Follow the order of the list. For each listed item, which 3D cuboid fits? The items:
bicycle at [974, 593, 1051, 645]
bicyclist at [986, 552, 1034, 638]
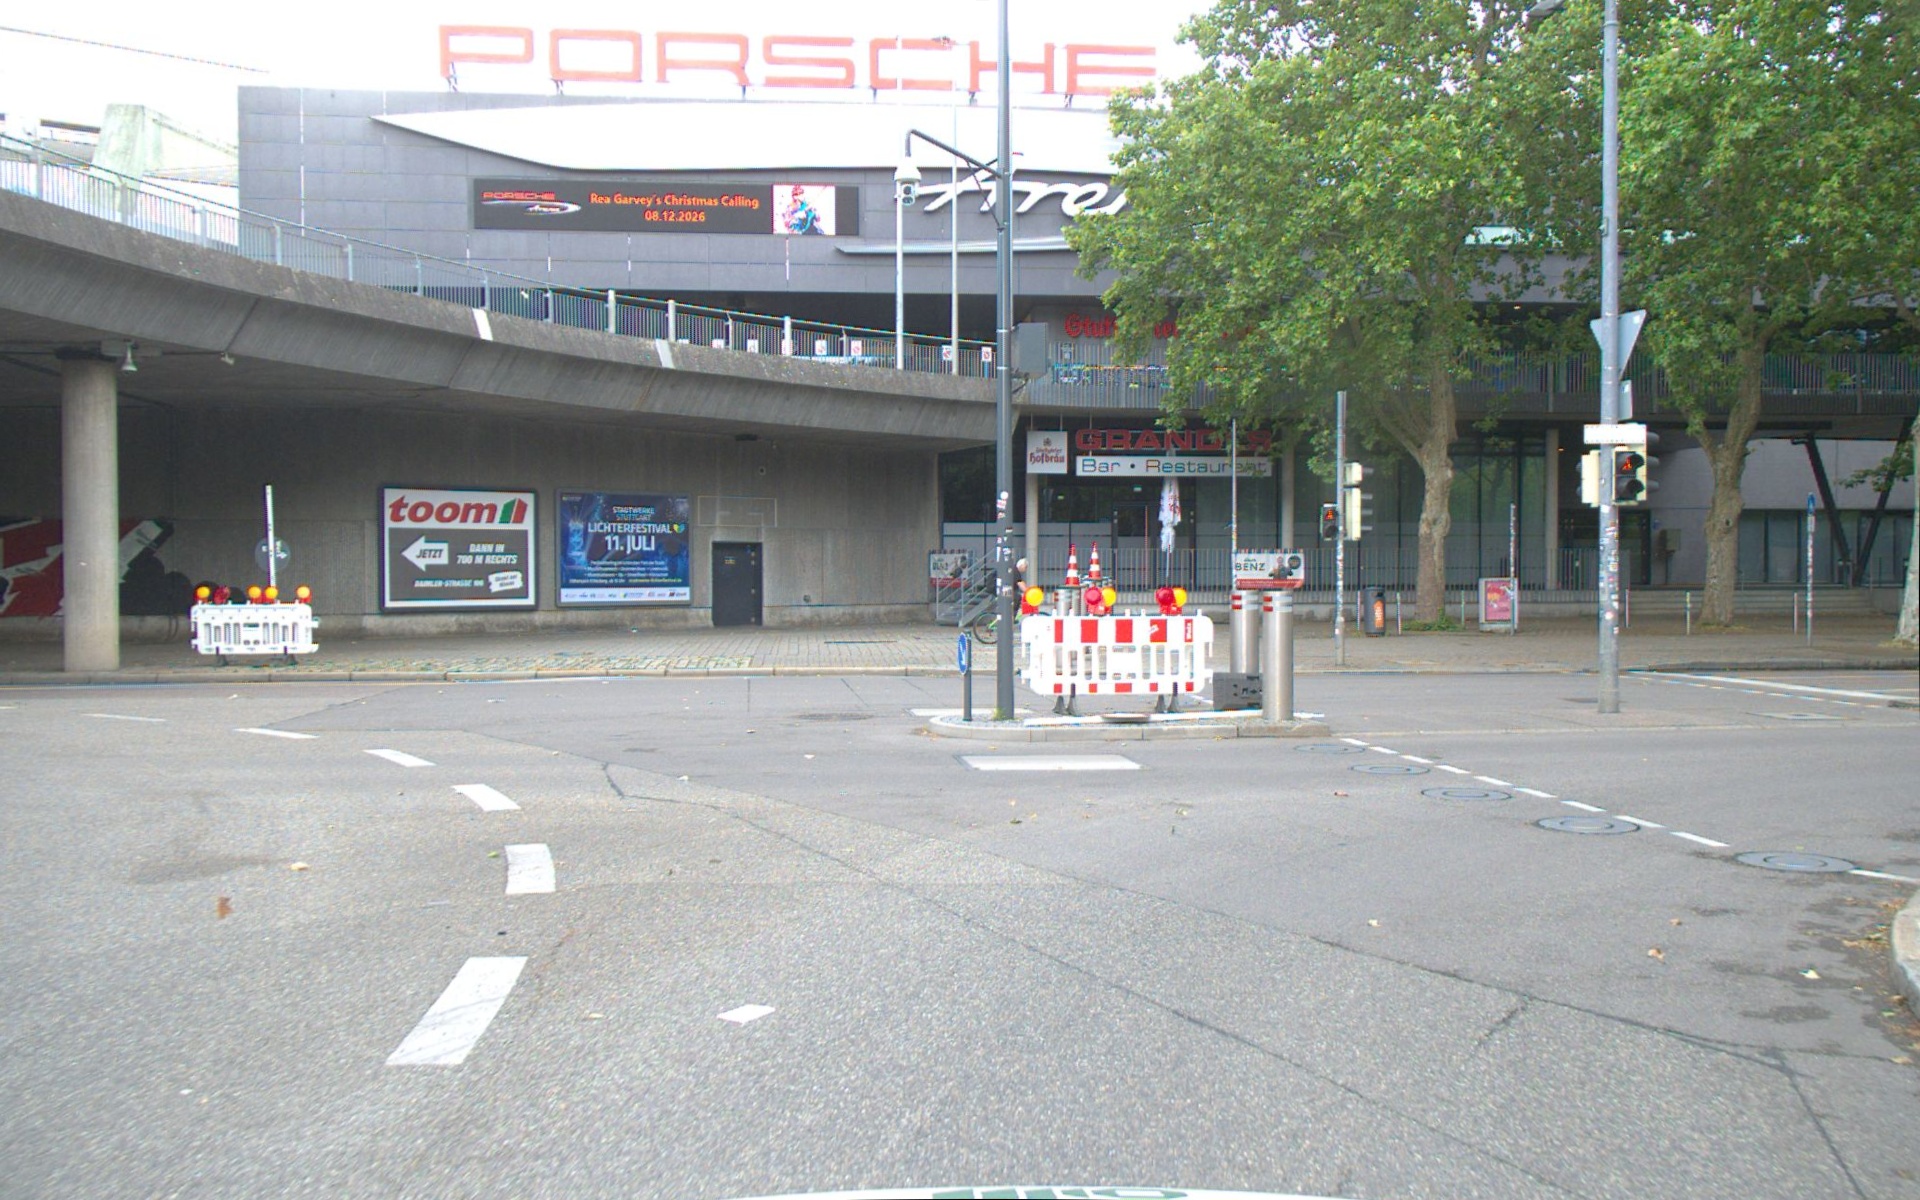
[{"bbox_3d":[1.073,0.391,34.034,1.504,1.031,0.516,1,0,-8],"label":"bicycle"},{"bbox_3d":[1.023,-0.109,34.037,0.835,1.727,0.765,1,0,-7],"label":"bicyclist"}]
